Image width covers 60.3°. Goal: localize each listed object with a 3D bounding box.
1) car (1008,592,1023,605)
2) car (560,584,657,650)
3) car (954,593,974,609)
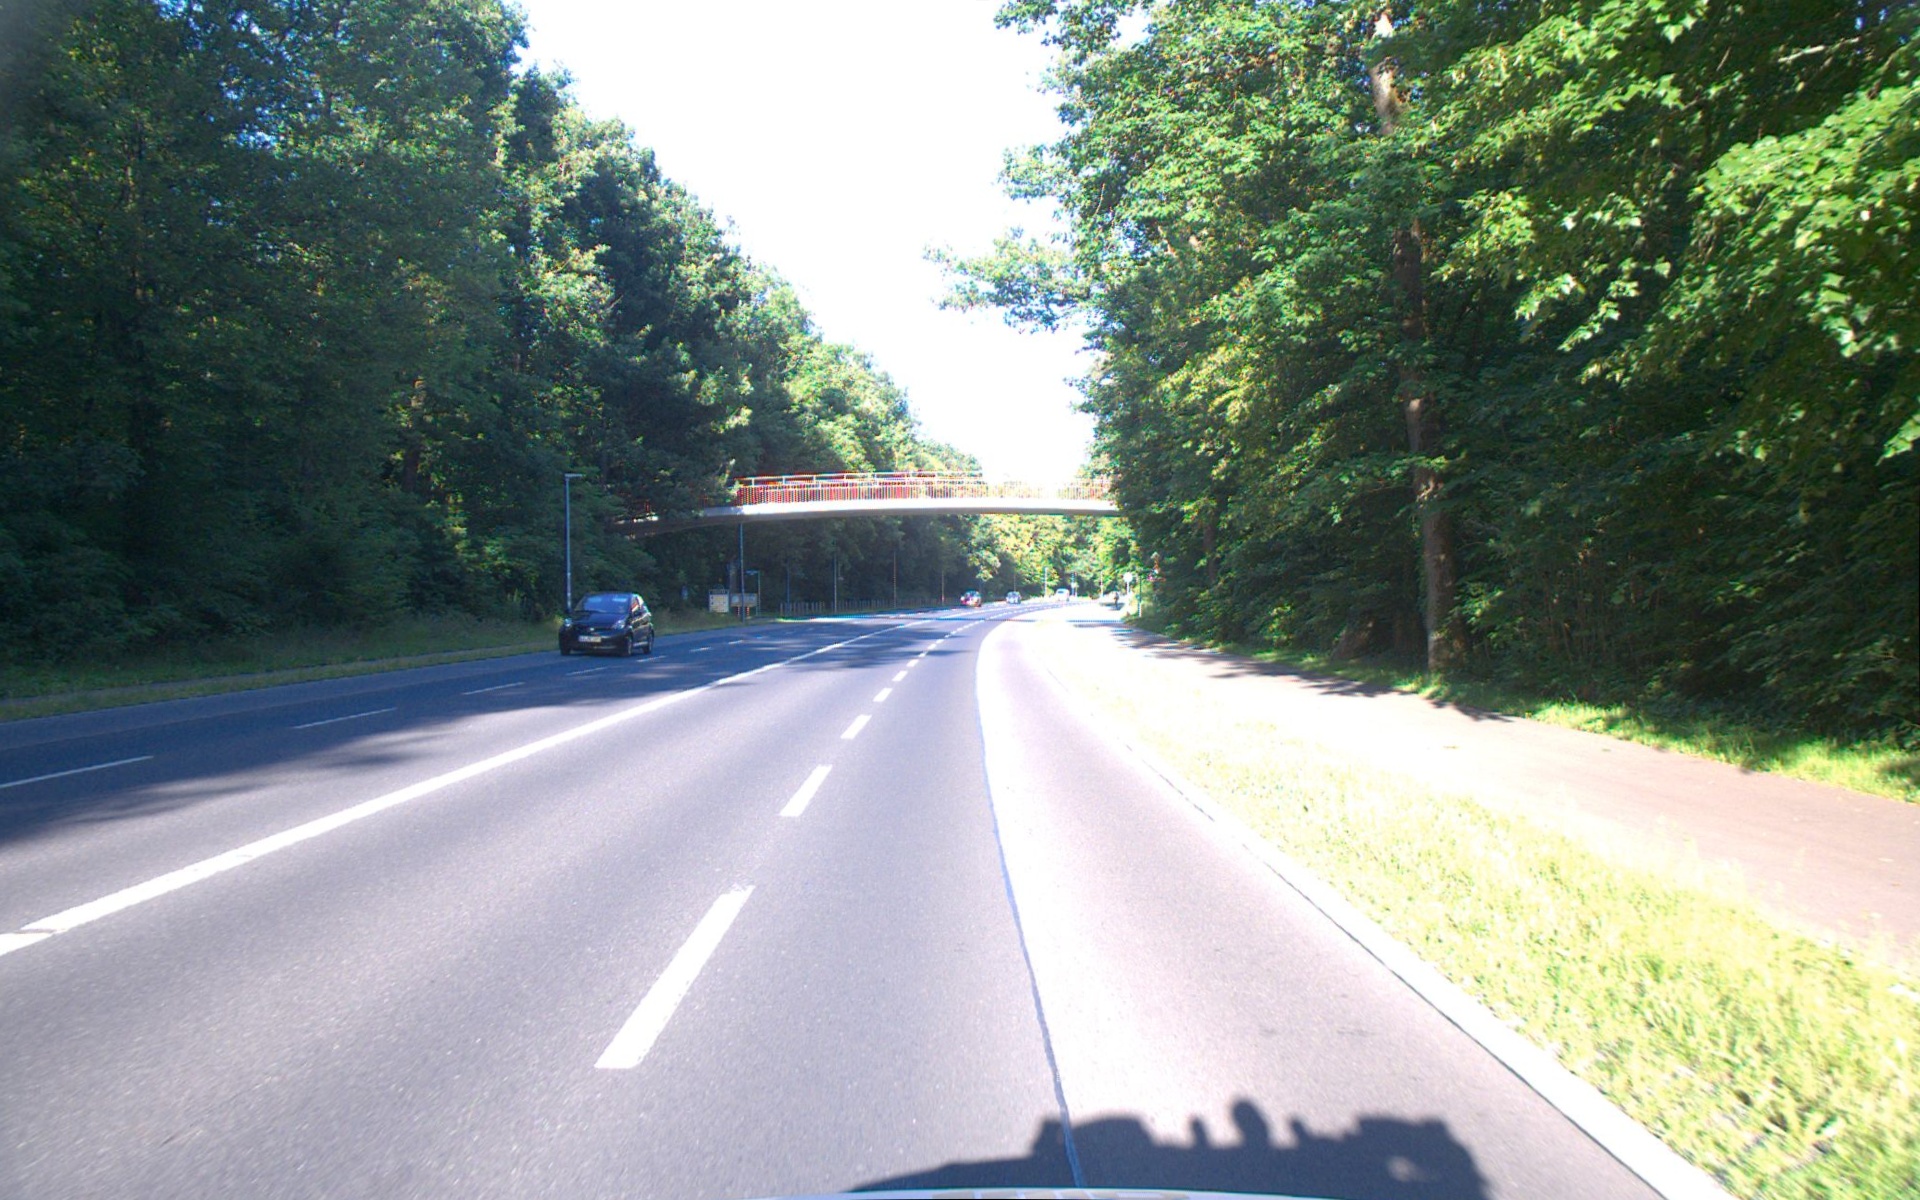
[{"bbox_3d":[7.077,-0.187,209.640,1.686,1.601,4.180,2,1,4],"label":"car"},{"bbox_3d":[-8.147,0.367,38.574,1.464,1.470,3.500,0,0,1],"label":"car"},{"bbox_3d":[0.419,0.122,171.091,1.724,1.610,4.170,1,0,4],"label":"car"}]
